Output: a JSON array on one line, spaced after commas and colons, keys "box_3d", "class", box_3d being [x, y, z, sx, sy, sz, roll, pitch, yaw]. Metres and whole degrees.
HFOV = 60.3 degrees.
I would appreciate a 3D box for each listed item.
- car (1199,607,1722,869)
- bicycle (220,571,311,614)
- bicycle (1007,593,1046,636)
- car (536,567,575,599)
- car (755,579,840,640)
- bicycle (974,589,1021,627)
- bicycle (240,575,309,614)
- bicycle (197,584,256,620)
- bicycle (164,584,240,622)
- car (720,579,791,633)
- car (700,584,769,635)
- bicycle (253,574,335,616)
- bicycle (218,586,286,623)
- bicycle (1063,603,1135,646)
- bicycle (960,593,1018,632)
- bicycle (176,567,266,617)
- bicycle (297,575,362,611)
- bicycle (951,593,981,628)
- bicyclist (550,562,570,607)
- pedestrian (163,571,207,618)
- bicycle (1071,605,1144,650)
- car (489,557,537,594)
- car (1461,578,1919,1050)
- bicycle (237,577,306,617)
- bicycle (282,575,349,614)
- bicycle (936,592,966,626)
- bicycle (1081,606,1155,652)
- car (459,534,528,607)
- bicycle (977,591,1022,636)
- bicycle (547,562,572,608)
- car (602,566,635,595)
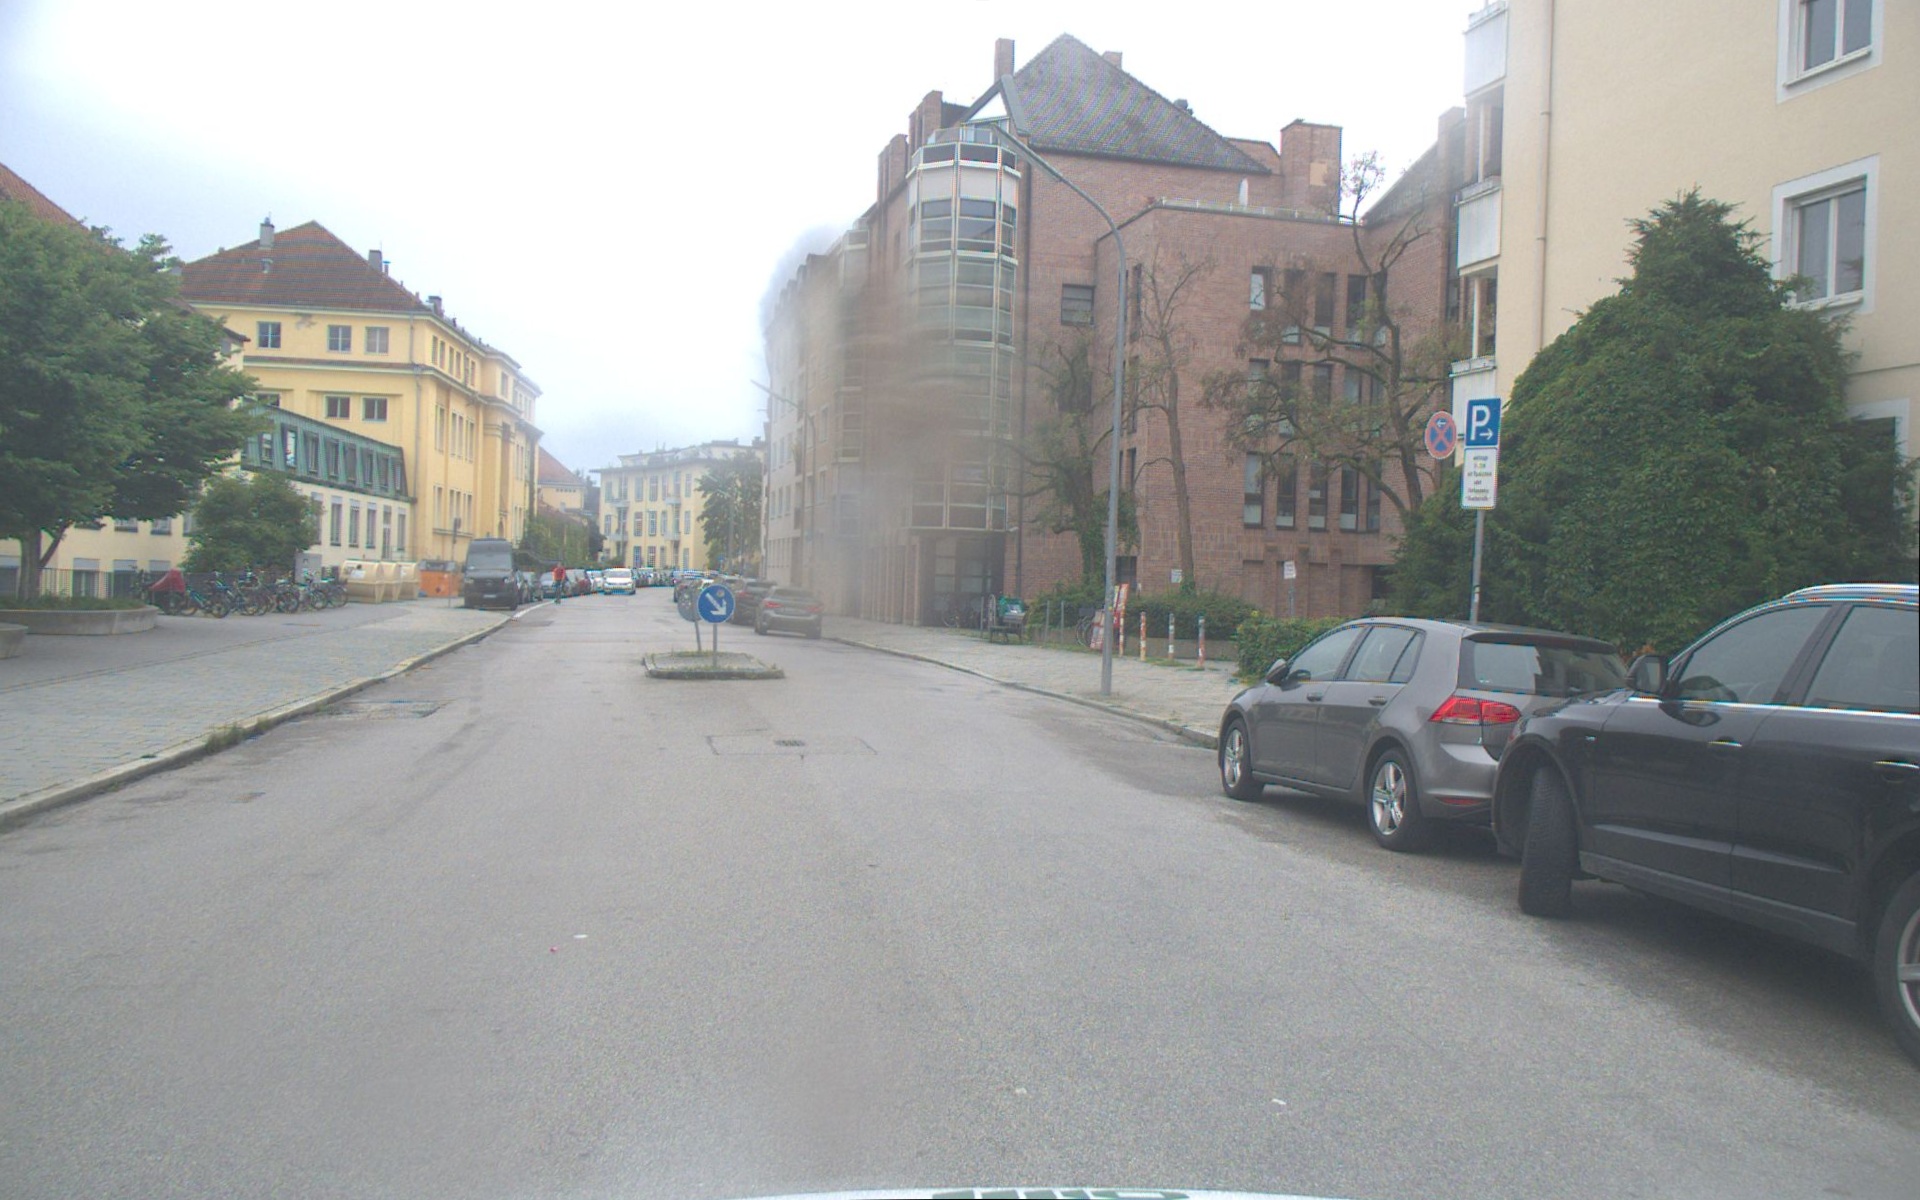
[{"box_3d": [3.218, 0.820, 11.566, 1.724, 1.420, 4.032, 3, -1, -12], "class": "car"}, {"box_3d": [-20.854, -0.227, 49.671, 2.502, 1.227, 0.424, 2, 1, -3], "class": "bicycle"}, {"box_3d": [1.904, 0.413, 47.177, 0.412, 1.193, 1.358, 4, 1, 32], "class": "bicycle"}, {"box_3d": [-22.458, -0.960, 91.959, 1.740, 1.577, 3.770, 3, 1, -10], "class": "car"}, {"box_3d": [-4.769, 0.246, 47.944, 1.891, 1.538, 4.378, 3, 0, -12], "class": "car"}, {"box_3d": [1.248, 0.269, 55.192, 1.448, 1.167, 0.382, 3, 1, -7], "class": "bicycle"}, {"box_3d": [-20.900, -0.172, 50.436, 1.829, 1.047, 0.539, 4, 1, -3], "class": "bicycle"}, {"box_3d": [-19.617, 0.056, 44.251, 1.345, 0.877, 0.439, 3, 1, -6], "class": "bicycle"}, {"box_3d": [-19.770, 0.067, 43.154, 1.686, 0.877, 0.439, 3, 1, -6], "class": "bicycle"}, {"box_3d": [-7.239, 0.177, 58.296, 1.800, 1.629, 4.248, 3, 1, -16], "class": "car"}, {"box_3d": [-8.635, 0.319, 63.060, 1.932, 1.629, 4.652, 3, 1, -16], "class": "car"}, {"box_3d": [-20.897, -0.162, 51.902, 2.264, 1.154, 0.581, 4, 1, -3], "class": "bicycle"}, {"box_3d": [-20.309, 0.124, 47.489, 1.641, 0.932, 0.595, 4, 1, -3], "class": "bicycle"}, {"box_3d": [3.491, 0.614, 41.504, 1.671, 0.982, 0.544, 3, 1, -12], "class": "bicycle"}, {"box_3d": [0.966, 0.424, 54.673, 1.813, 1.167, 0.487, 3, 1, -7], "class": "bicycle"}, {"box_3d": [-20.431, -0.223, 45.751, 2.063, 1.249, 0.786, 4, 1, -3], "class": "bicycle"}, {"box_3d": [-21.393, -0.248, 56.138, 1.866, 1.111, 0.677, 4, 1, -3], "class": "bicycle"}, {"box_3d": [0.209, 0.346, 56.285, 0.478, 1.078, 1.988, 3, 1, -14], "class": "bicycle"}, {"box_3d": [-18.612, -0.707, 76.908, 0.752, 2.048, 0.767, -2, 2, -7], "class": "bicyclist"}, {"box_3d": [-20.535, -0.155, 43.826, 0.704, 1.183, 1.039, 4, 1, -8], "class": "pedestrian"}, {"box_3d": [3.644, 0.680, 40.853, 1.671, 0.982, 0.544, 3, 1, -12], "class": "bicycle"}, {"box_3d": [-19.850, -1.125, 73.572, 1.668, 1.478, 3.733, 3, 1, -10], "class": "car"}, {"box_3d": [3.900, 0.756, 6.866, 1.628, 1.593, 4.505, 3, 0, -9], "class": "car"}, {"box_3d": [-20.378, -0.098, 48.949, 1.755, 1.051, 0.507, 4, 1, -3], "class": "bicycle"}, {"box_3d": [-21.225, -0.173, 54.511, 1.917, 1.151, 0.573, 4, 1, -3], "class": "bicycle"}, {"box_3d": [-0.312, 0.296, 56.158, 0.478, 1.078, 1.988, 3, 0, -15], "class": "bicycle"}, {"box_3d": [3.823, 0.701, 40.074, 1.671, 0.982, 0.544, 3, 1, -12], "class": "bicycle"}, {"box_3d": [-18.472, -1.134, 65.764, 2.380, 2.762, 5.932, 0, 0, -14], "class": "car"}, {"box_3d": [1.161, 0.394, 48.845, 0.525, 1.270, 2.401, 3, -1, -18], "class": "bicycle"}, {"box_3d": [-18.592, -0.719, 76.862, 0.734, 2.048, 2.844, 0, 2, -6], "class": "bicycle"}, {"box_3d": [-21.125, -1.192, 102.429, 1.990, 1.649, 4.493, 0, -1, -11], "class": "car"}]
